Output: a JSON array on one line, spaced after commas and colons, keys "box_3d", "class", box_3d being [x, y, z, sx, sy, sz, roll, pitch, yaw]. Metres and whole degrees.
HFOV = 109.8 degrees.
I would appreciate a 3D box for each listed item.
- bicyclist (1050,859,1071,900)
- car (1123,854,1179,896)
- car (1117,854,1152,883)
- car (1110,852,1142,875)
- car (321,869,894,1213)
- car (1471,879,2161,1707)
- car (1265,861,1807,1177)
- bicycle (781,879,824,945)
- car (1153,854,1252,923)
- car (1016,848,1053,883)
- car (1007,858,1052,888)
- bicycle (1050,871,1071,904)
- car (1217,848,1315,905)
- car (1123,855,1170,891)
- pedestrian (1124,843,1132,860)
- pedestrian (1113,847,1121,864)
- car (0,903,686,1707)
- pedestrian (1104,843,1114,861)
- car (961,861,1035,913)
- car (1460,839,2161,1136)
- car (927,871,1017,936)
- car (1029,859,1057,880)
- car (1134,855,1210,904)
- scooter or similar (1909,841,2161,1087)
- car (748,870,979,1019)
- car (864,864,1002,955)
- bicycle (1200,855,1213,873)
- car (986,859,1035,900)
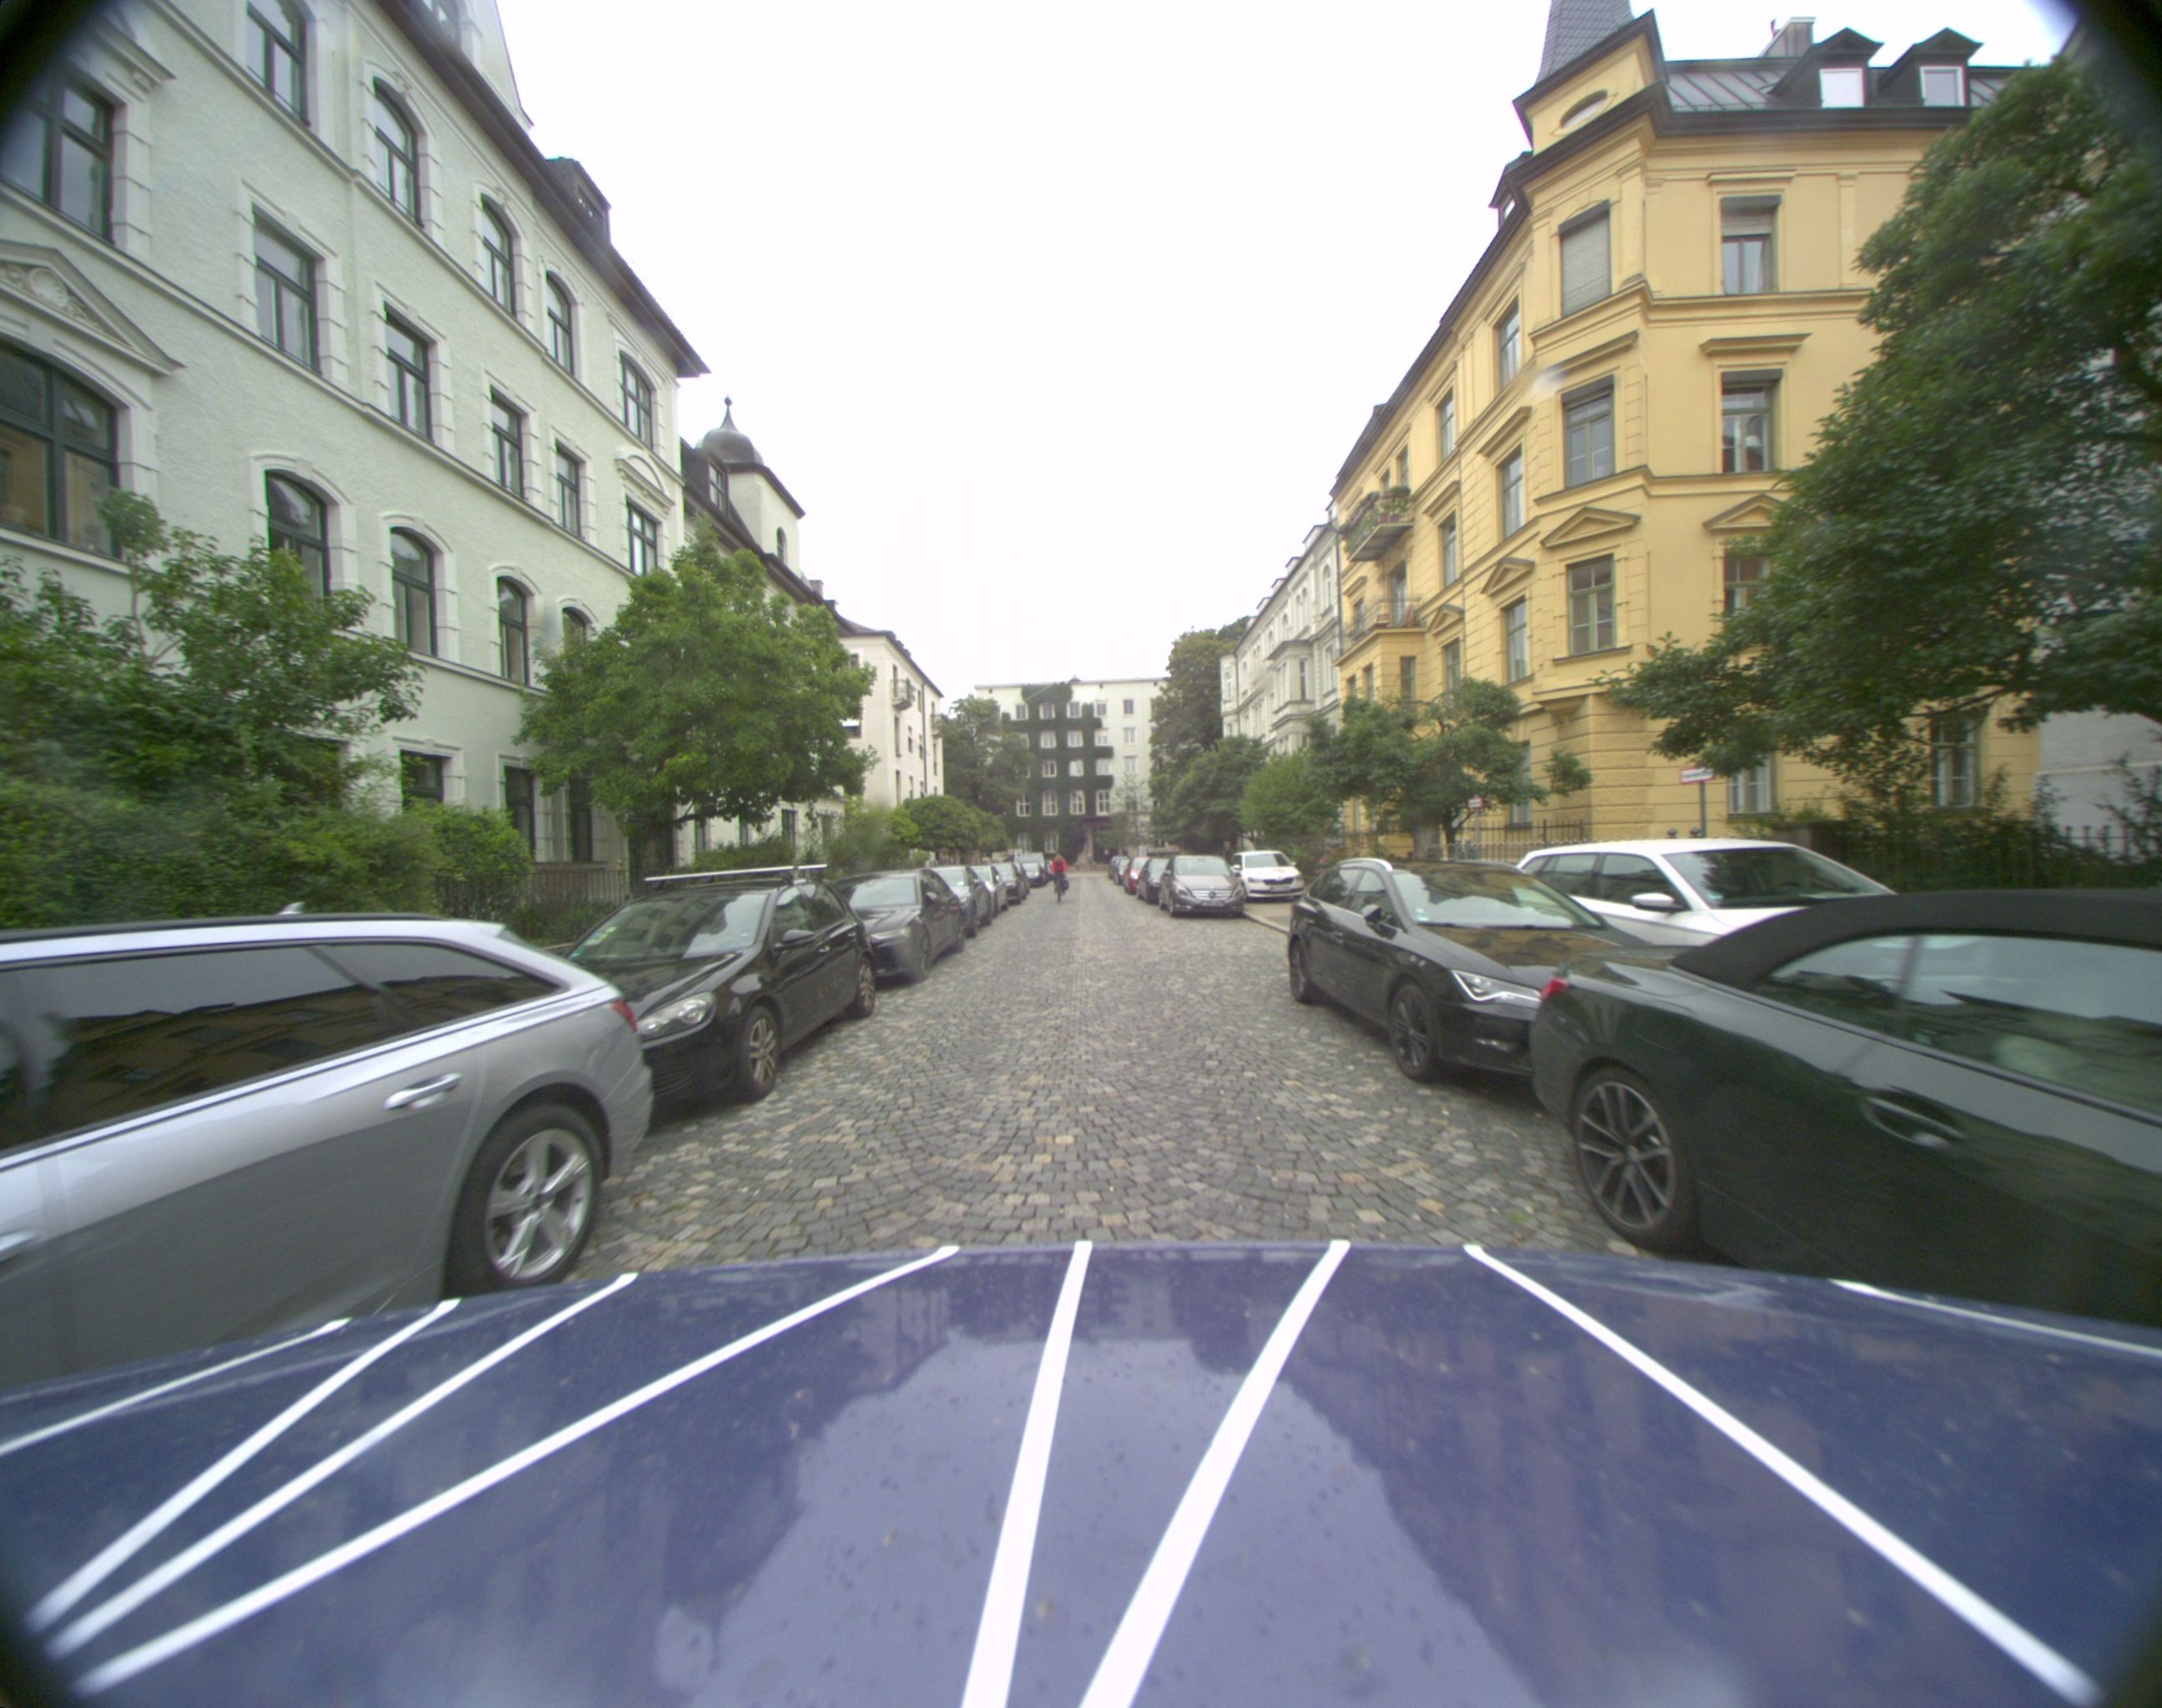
[{"box_3d": [-0.705, 0.864, 26.182, 0.648, 1.350, 0.656, -3, 1, 0], "class": "bicyclist"}, {"box_3d": [2.812, 0.817, 31.400, 1.846, 1.577, 4.191, -1, 0, -1], "class": "car"}, {"box_3d": [2.897, 0.740, 42.085, 1.814, 1.490, 4.510, -1, 0, 2], "class": "car"}, {"box_3d": [3.026, 0.629, 51.686, 1.744, 1.490, 4.280, -1, 0, -3], "class": "car"}, {"box_3d": [-3.060, 1.050, 6.220, 1.898, 1.644, 4.293, -3, 0, 0], "class": "car"}, {"box_3d": [2.788, 0.869, 1.279, 1.819, 1.447, 4.913, 1, 0, 1], "class": "car"}, {"box_3d": [2.946, 0.891, 6.272, 1.744, 1.594, 4.536, 0, 0, 0], "class": "car"}, {"box_3d": [-5.578, 1.139, 15.306, 0.582, 1.188, 1.646, -3, 0, -14], "class": "bicycle"}, {"box_3d": [3.041, 0.804, 19.903, 1.744, 1.577, 4.191, -1, 0, -3], "class": "car"}, {"box_3d": [-2.889, 0.707, 48.377, 1.999, 1.958, 4.965, -5, 1, -1], "class": "car"}, {"box_3d": [-2.839, 1.028, 42.785, 1.942, 1.457, 4.532, -4, 0, 2], "class": "car"}, {"box_3d": [-0.702, 1.128, 26.277, 0.636, 1.021, 1.955, -2, 1, 0], "class": "bicycle"}, {"box_3d": [5.413, 0.601, 22.786, 1.846, 1.457, 4.389, -3, 0, 1], "class": "car"}, {"box_3d": [3.113, 0.870, 36.943, 1.822, 1.500, 4.641, 1, 1, 0], "class": "car"}, {"box_3d": [5.265, -0.261, 85.079, 0.666, 1.905, 0.863, -3, 1, 9], "class": "pedestrian"}, {"box_3d": [4.056, 0.138, 85.415, 0.701, 1.905, 0.863, -4, 1, 3], "class": "pedestrian"}, {"box_3d": [-3.054, 1.080, 1.277, 1.998, 1.543, 4.986, -3, 0, 1], "class": "car"}, {"box_3d": [3.146, -0.196, 85.154, 0.703, 1.905, 0.861, -4, 1, -31], "class": "pedestrian"}, {"box_3d": [-2.888, 1.110, 27.468, 1.909, 1.494, 5.105, -4, 0, 1], "class": "car"}, {"box_3d": [5.199, 0.718, 6.368, 1.744, 1.527, 4.466, -3, 0, 0], "class": "car"}, {"box_3d": [-2.991, 1.325, 21.813, 1.760, 1.451, 4.480, -4, 0, 1], "class": "car"}, {"box_3d": [-2.630, 1.041, 53.539, 1.744, 1.367, 4.181, -1, 0, 0], "class": "car"}, {"box_3d": [2.938, 0.779, 25.614, 1.875, 1.461, 5.133, -1, 0, -1], "class": "car"}, {"box_3d": [7.248, 0.680, 4.846, 1.064, 1.514, 2.635, -2, 0, 1], "class": "scooter or similar"}, {"box_3d": [-2.888, 1.118, 11.423, 1.823, 1.480, 5.049, -5, 0, 1], "class": "car"}, {"box_3d": [-3.007, 1.066, 16.582, 1.887, 1.480, 4.814, -4, 0, 1], "class": "car"}, {"box_3d": [8.012, 0.648, 48.502, 0.464, 1.045, 1.695, -5, 1, 1], "class": "bicycle"}, {"box_3d": [-2.977, 1.056, 32.749, 1.671, 1.499, 3.685, -4, 0, 0], "class": "car"}]
